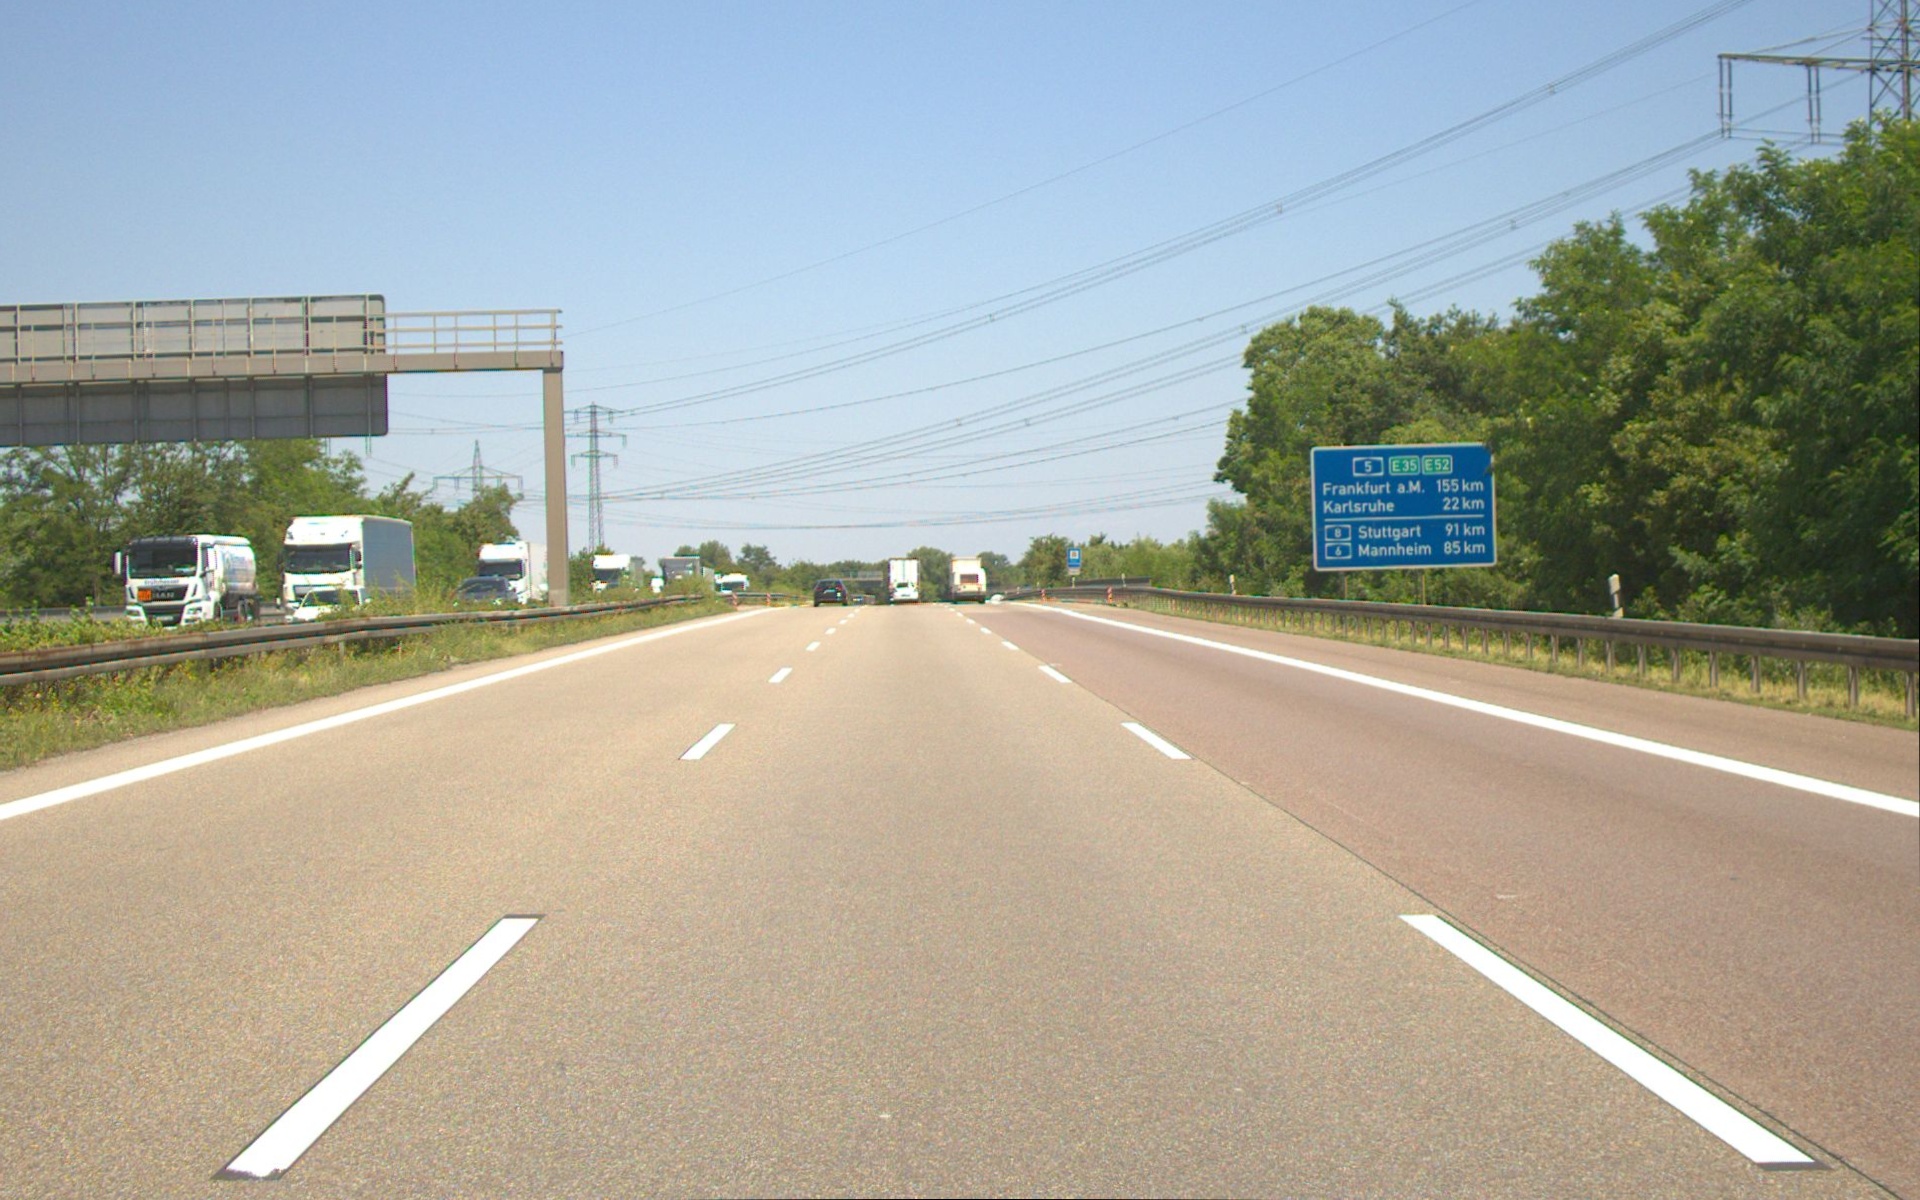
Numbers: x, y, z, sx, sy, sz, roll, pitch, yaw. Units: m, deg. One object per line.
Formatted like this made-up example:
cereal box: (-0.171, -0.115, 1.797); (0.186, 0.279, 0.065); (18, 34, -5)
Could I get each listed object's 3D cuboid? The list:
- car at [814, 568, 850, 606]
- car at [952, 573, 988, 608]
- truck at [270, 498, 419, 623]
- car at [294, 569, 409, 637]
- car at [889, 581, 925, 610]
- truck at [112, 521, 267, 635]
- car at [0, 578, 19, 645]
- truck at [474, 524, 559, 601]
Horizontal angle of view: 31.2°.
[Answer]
car: (-6.913, -0.716, 185.936); (1.791, 2.007, 3.888); (0, 1, -1)
car: (0.588, -0.576, 205.056); (1.993, 2.007, 4.000); (-1, 1, -1)
truck: (-22.949, -1.469, 129.200); (2.712, 4.374, 17.327); (-1, 1, -1)
car: (-14.207, 0.047, 80.520); (1.993, 1.505, 4.243); (-1, 1, -1)
car: (-3.695, -0.321, 239.269); (2.177, 1.923, 4.611); (-1, 1, 3)
truck: (-22.824, -0.664, 102.245); (2.712, 3.197, 8.925); (-1, 1, -1)
car: (-27.257, 0.347, 94.339); (1.931, 1.809, 4.001); (-2, 1, -4)
truck: (-24.731, -2.080, 192.497); (2.961, 4.077, 17.030); (-1, 0, -2)
